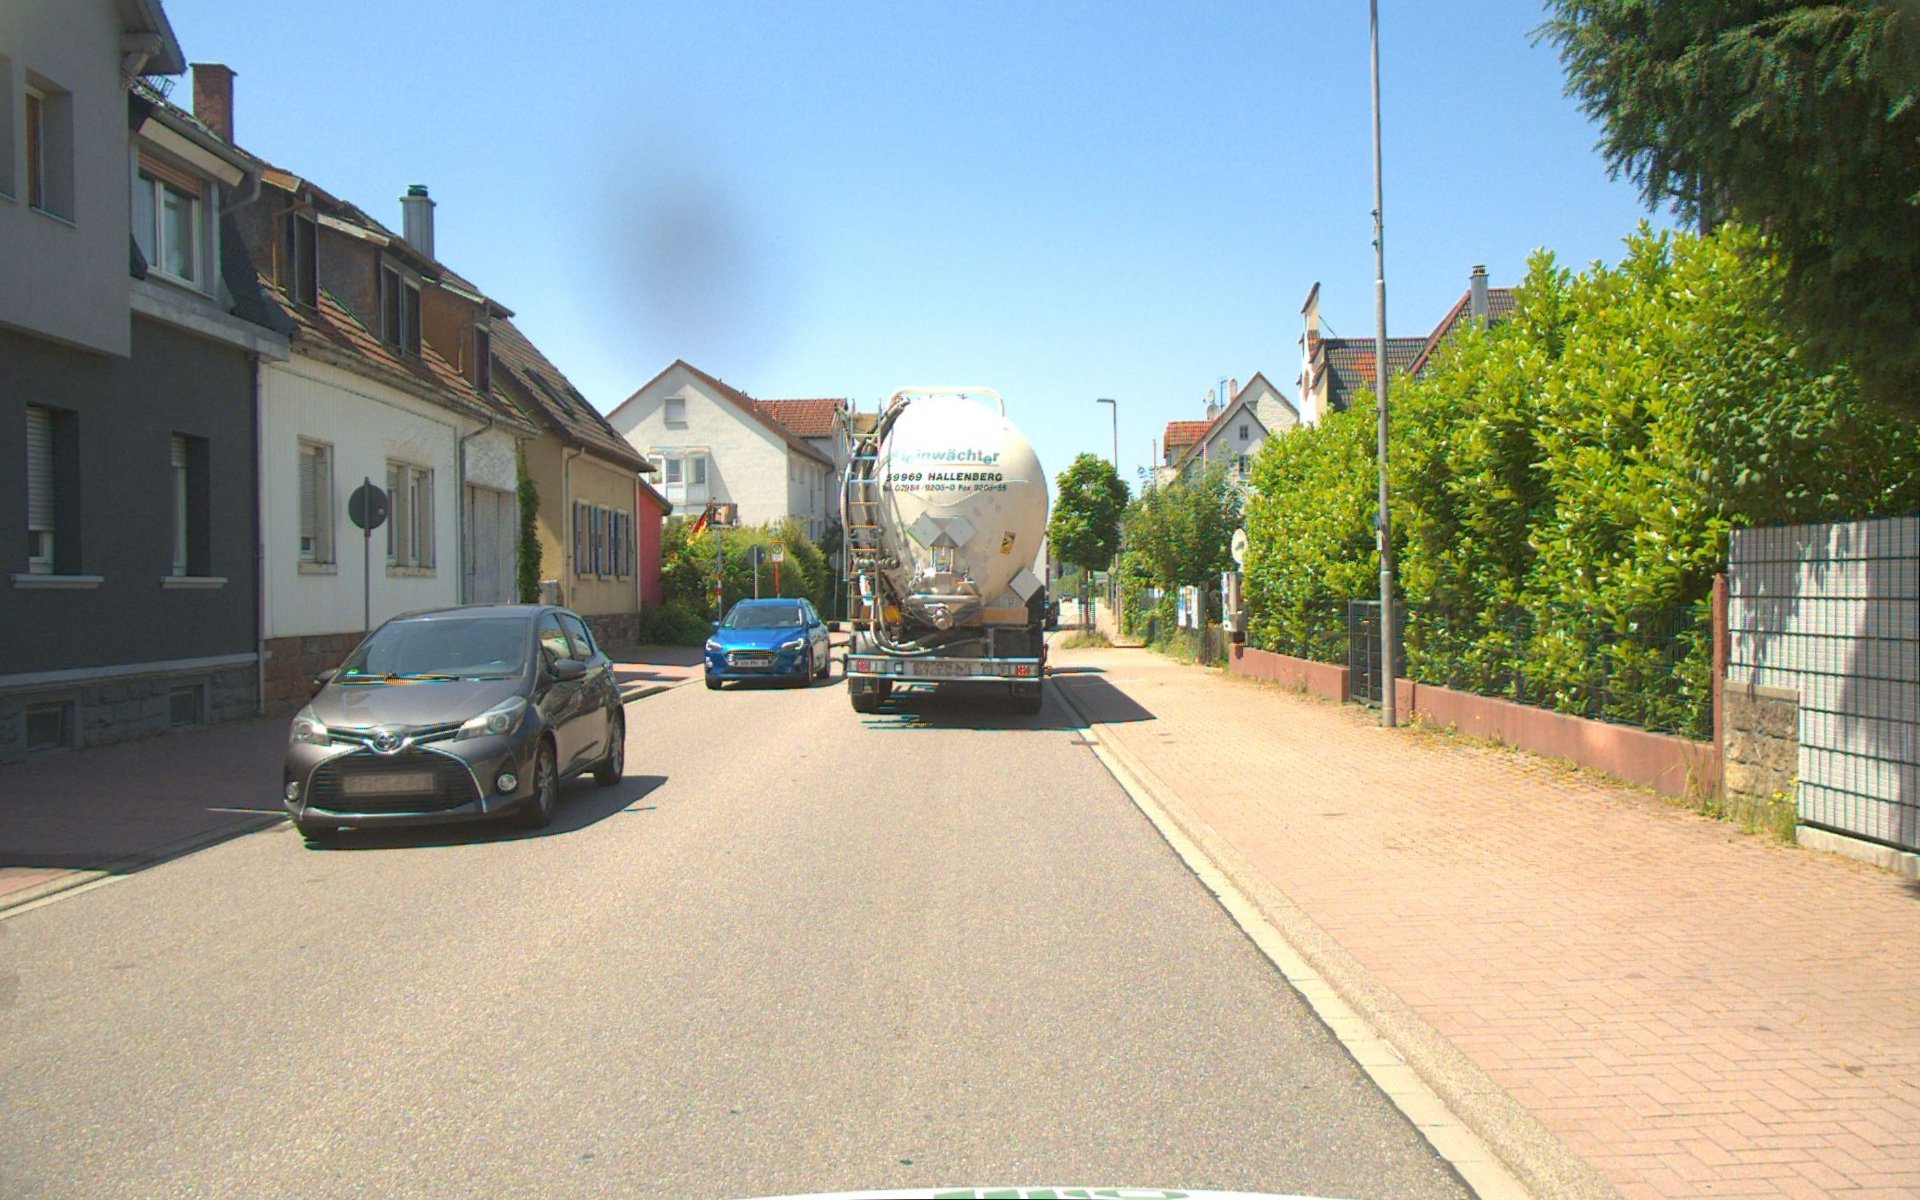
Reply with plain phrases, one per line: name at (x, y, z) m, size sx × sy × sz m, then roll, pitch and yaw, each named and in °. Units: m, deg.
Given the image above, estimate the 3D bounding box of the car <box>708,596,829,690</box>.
car at (-3.295, 0.698, 29.182) m, size 1.612 × 1.479 × 4.400 m, roll -1°, pitch 0°, yaw 0°

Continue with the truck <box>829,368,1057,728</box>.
truck at (-0.224, -0.620, 23.564) m, size 2.587 × 4.086 × 9.560 m, roll 0°, pitch 0°, yaw 0°

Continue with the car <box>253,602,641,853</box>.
car at (-3.578, 0.799, 12.285) m, size 1.642 × 1.484 × 3.928 m, roll -2°, pitch 0°, yaw -1°

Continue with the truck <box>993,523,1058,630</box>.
truck at (2.968, -0.973, 72.247) m, size 2.585 × 4.298 × 12.099 m, roll 0°, pitch 0°, yaw 3°
